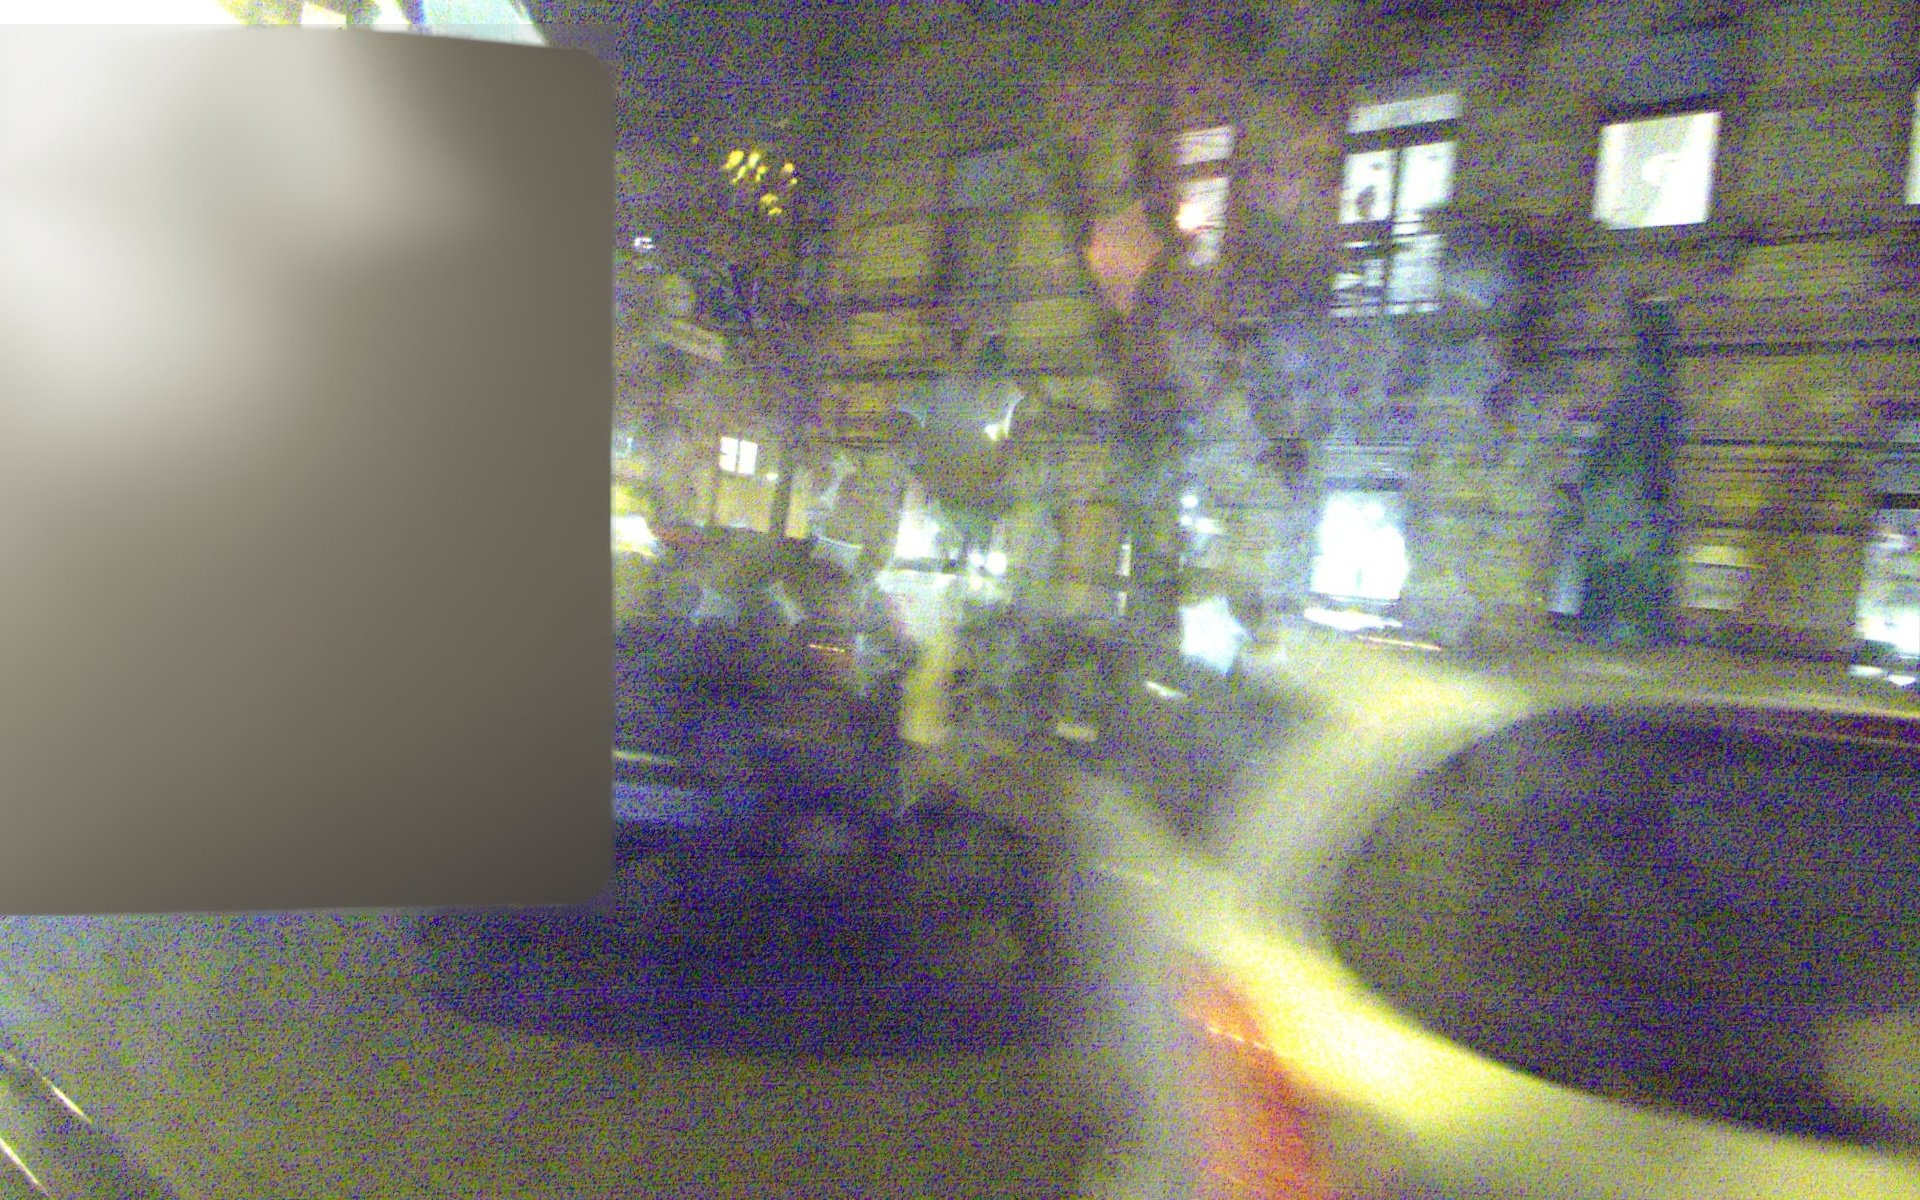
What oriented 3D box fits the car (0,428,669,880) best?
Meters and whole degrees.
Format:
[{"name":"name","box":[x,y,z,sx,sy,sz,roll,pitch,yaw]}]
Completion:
[{"name":"car","box":[-3.183,0.208,6.093,1.739,1.735,3.736,6,1,-2]}]

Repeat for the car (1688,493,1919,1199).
[{"name":"car","box":[3.565,0.828,1.652,1.690,2.055,3.736,6,1,-3]}]

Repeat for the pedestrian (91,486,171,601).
[{"name":"pedestrian","box":[-13.945,-0.943,16.930,0.592,1.792,0.824,6,-1,44]}]

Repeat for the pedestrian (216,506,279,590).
[{"name":"pedestrian","box":[-16.908,-1.224,23.892,0.867,1.856,0.979,6,0,-22]}]

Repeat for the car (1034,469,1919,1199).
[{"name":"car","box":[1.201,0.759,2.976,1.799,1.618,4.071,6,1,4]}]

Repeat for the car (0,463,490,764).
[{"name":"car","box":[-5.595,-0.013,7.618,1.738,1.594,4.261,6,1,4]}]

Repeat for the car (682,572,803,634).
[{"name":"car","box":[-7.316,0.099,33.807,3.632,1.596,1.755,6,-2,31]}]

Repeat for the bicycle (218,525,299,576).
[{"name":"bicycle","box":[-19.858,-1.398,28.520,1.767,1.188,0.381,7,0,-30]}]

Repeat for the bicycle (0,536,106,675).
[{"name":"bicycle","box":[-7.951,-0.008,8.080,1.620,1.040,0.335,7,2,-15]}]

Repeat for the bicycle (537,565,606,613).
[{"name":"bicycle","box":[-11.524,-0.300,29.928,0.444,1.190,1.964,6,-2,29]}]

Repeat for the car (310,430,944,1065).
[{"name":"car","box":[-1.058,0.425,4.872,1.716,1.735,3.790,6,1,-2]}]
